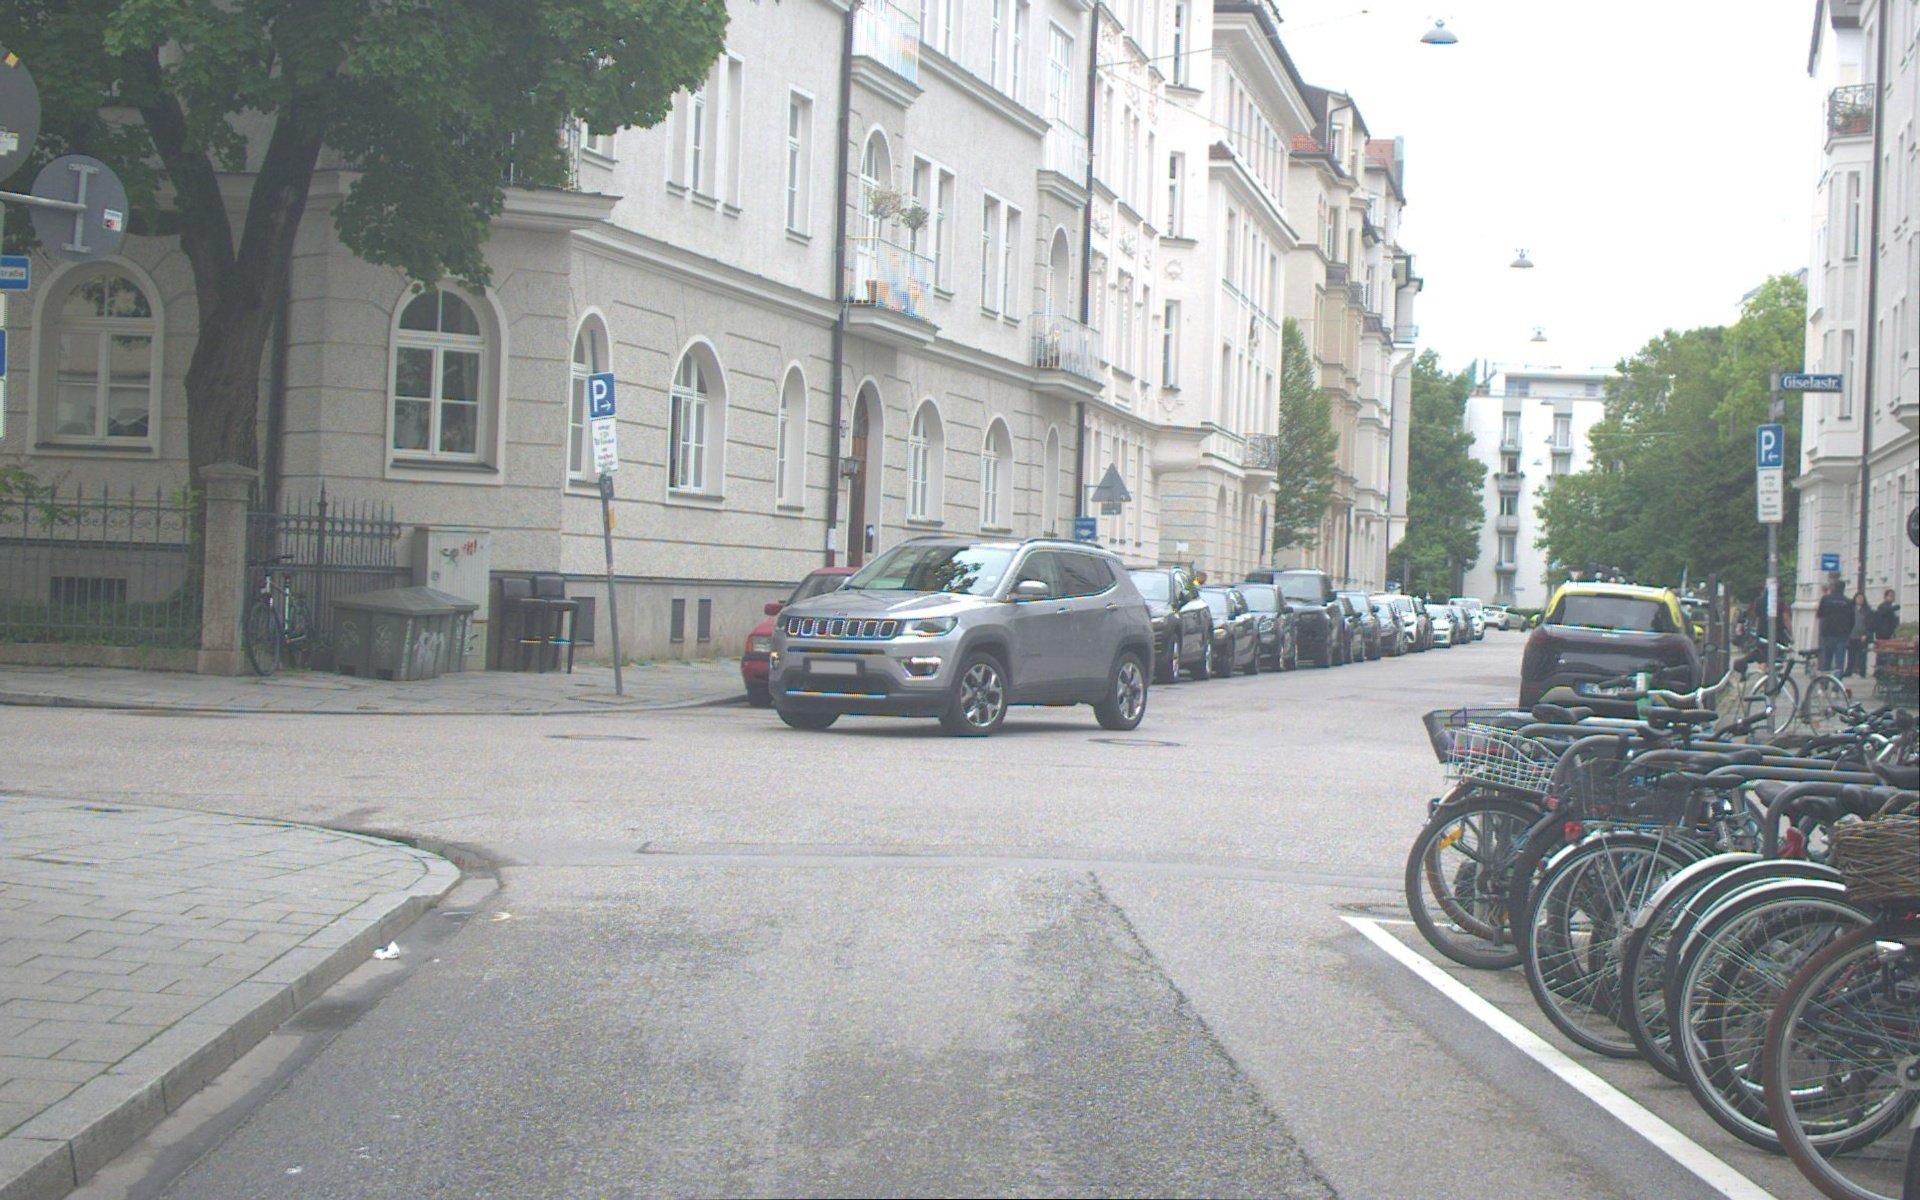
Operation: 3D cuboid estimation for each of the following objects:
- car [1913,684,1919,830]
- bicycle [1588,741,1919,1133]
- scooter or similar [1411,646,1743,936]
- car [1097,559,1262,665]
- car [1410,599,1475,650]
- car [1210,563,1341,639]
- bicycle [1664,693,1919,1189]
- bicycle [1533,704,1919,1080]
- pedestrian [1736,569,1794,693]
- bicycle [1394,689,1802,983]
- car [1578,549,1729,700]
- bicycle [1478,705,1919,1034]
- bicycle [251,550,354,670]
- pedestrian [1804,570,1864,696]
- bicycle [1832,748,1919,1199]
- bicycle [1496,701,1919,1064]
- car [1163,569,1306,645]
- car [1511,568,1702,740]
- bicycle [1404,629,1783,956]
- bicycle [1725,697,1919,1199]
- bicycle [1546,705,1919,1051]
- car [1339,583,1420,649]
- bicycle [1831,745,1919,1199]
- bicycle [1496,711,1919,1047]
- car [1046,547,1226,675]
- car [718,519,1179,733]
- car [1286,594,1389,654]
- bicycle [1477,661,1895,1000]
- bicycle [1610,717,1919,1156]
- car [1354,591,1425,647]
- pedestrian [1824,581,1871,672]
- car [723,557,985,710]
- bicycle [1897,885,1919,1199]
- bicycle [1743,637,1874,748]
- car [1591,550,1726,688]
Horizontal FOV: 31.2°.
[{"bbox_3d":[9.081,0.338,20.950,5.894,2.582,2.059,3,2,4],"label":"car"},{"bbox_3d":[2.818,0.971,9.896,1.873,1.048,0.564,2,-1,-5],"label":"bicycle"},{"bbox_3d":[2.740,0.842,15.312,1.352,1.206,0.417,2,0,1],"label":"scooter or similar"},{"bbox_3d":[3.555,0.176,55.032,1.927,1.541,3.998,3,1,13],"label":"car"},{"bbox_3d":[16.144,0.801,114.877,1.994,1.568,3.998,3,1,9],"label":"car"},{"bbox_3d":[6.030,0.018,65.375,1.908,1.324,3.998,3,1,13],"label":"car"},{"bbox_3d":[2.797,0.854,8.648,1.893,1.166,0.566,2,1,-4],"label":"bicycle"},{"bbox_3d":[2.762,0.906,10.593,1.873,1.076,0.402,2,2,-4],"label":"bicycle"},{"bbox_3d":[12.261,0.468,52.352,0.778,1.845,1.022,2,1,13],"label":"pedestrian"},{"bbox_3d":[2.498,0.922,13.502,1.450,1.066,0.463,3,1,-9],"label":"bicycle"},{"bbox_3d":[9.677,0.321,47.849,1.821,1.864,4.286,5,1,12],"label":"car"},{"bbox_3d":[2.782,0.960,12.272,1.740,1.076,0.452,2,2,-4],"label":"bicycle"},{"bbox_3d":[-6.306,0.081,33.022,0.493,1.049,1.827,2,3,4],"label":"bicycle"},{"bbox_3d":[13.129,0.487,51.681,0.778,1.845,1.022,2,1,13],"label":"pedestrian"},{"bbox_3d":[2.888,0.969,7.291,1.873,1.153,0.565,4,2,-3],"label":"bicycle"},{"bbox_3d":[2.713,0.909,11.031,1.873,1.076,0.408,2,2,-4],"label":"bicycle"},{"bbox_3d":[4.899,0.120,60.915,1.908,1.218,3.998,3,1,13],"label":"car"},{"bbox_3d":[7.126,0.555,37.613,1.821,1.630,4.286,5,1,12],"label":"car"},{"bbox_3d":[2.662,0.803,14.513,1.457,1.281,0.445,3,1,0],"label":"bicycle"},{"bbox_3d":[2.804,0.858,8.020,1.873,1.200,0.580,1,1,-3],"label":"bicycle"},{"bbox_3d":[2.818,0.928,11.473,1.612,1.076,0.378,2,2,-4],"label":"bicycle"},{"bbox_3d":[10.790,0.401,88.255,1.821,1.568,3.998,3,1,9],"label":"car"},{"bbox_3d":[2.685,0.931,6.604,1.873,1.200,0.488,2,2,-3],"label":"bicycle"},{"bbox_3d":[2.738,0.961,11.857,1.674,1.076,0.336,2,2,-4],"label":"bicycle"},{"bbox_3d":[2.563,0.142,49.125,1.994,1.670,4.287,3,1,10],"label":"car"},{"bbox_3d":[-0.005,0.201,28.803,1.960,1.602,4.302,2,1,29],"label":"car"},{"bbox_3d":[8.481,0.512,76.914,1.907,1.218,3.998,3,1,11],"label":"car"},{"bbox_3d":[2.752,0.872,13.055,1.450,1.203,0.395,3,1,-9],"label":"bicycle"},{"bbox_3d":[2.742,0.906,9.191,1.873,1.091,0.440,2,2,-4],"label":"bicycle"},{"bbox_3d":[11.786,0.500,94.131,1.734,1.415,3.998,3,1,9],"label":"car"},{"bbox_3d":[18.270,0.541,70.742,0.779,1.845,0.858,3,1,20],"label":"pedestrian"},{"bbox_3d":[-0.995,0.306,34.602,1.731,1.373,4.225,3,1,10],"label":"car"},{"bbox_3d":[2.669,0.990,6.084,1.873,1.104,0.488,4,2,-3],"label":"bicycle"},{"bbox_3d":[8.270,0.888,33.575,0.539,0.995,1.756,-1,1,-11],"label":"bicycle"},{"bbox_3d":[10.830,0.279,53.178,1.821,1.917,4.181,5,1,12],"label":"car"}]
